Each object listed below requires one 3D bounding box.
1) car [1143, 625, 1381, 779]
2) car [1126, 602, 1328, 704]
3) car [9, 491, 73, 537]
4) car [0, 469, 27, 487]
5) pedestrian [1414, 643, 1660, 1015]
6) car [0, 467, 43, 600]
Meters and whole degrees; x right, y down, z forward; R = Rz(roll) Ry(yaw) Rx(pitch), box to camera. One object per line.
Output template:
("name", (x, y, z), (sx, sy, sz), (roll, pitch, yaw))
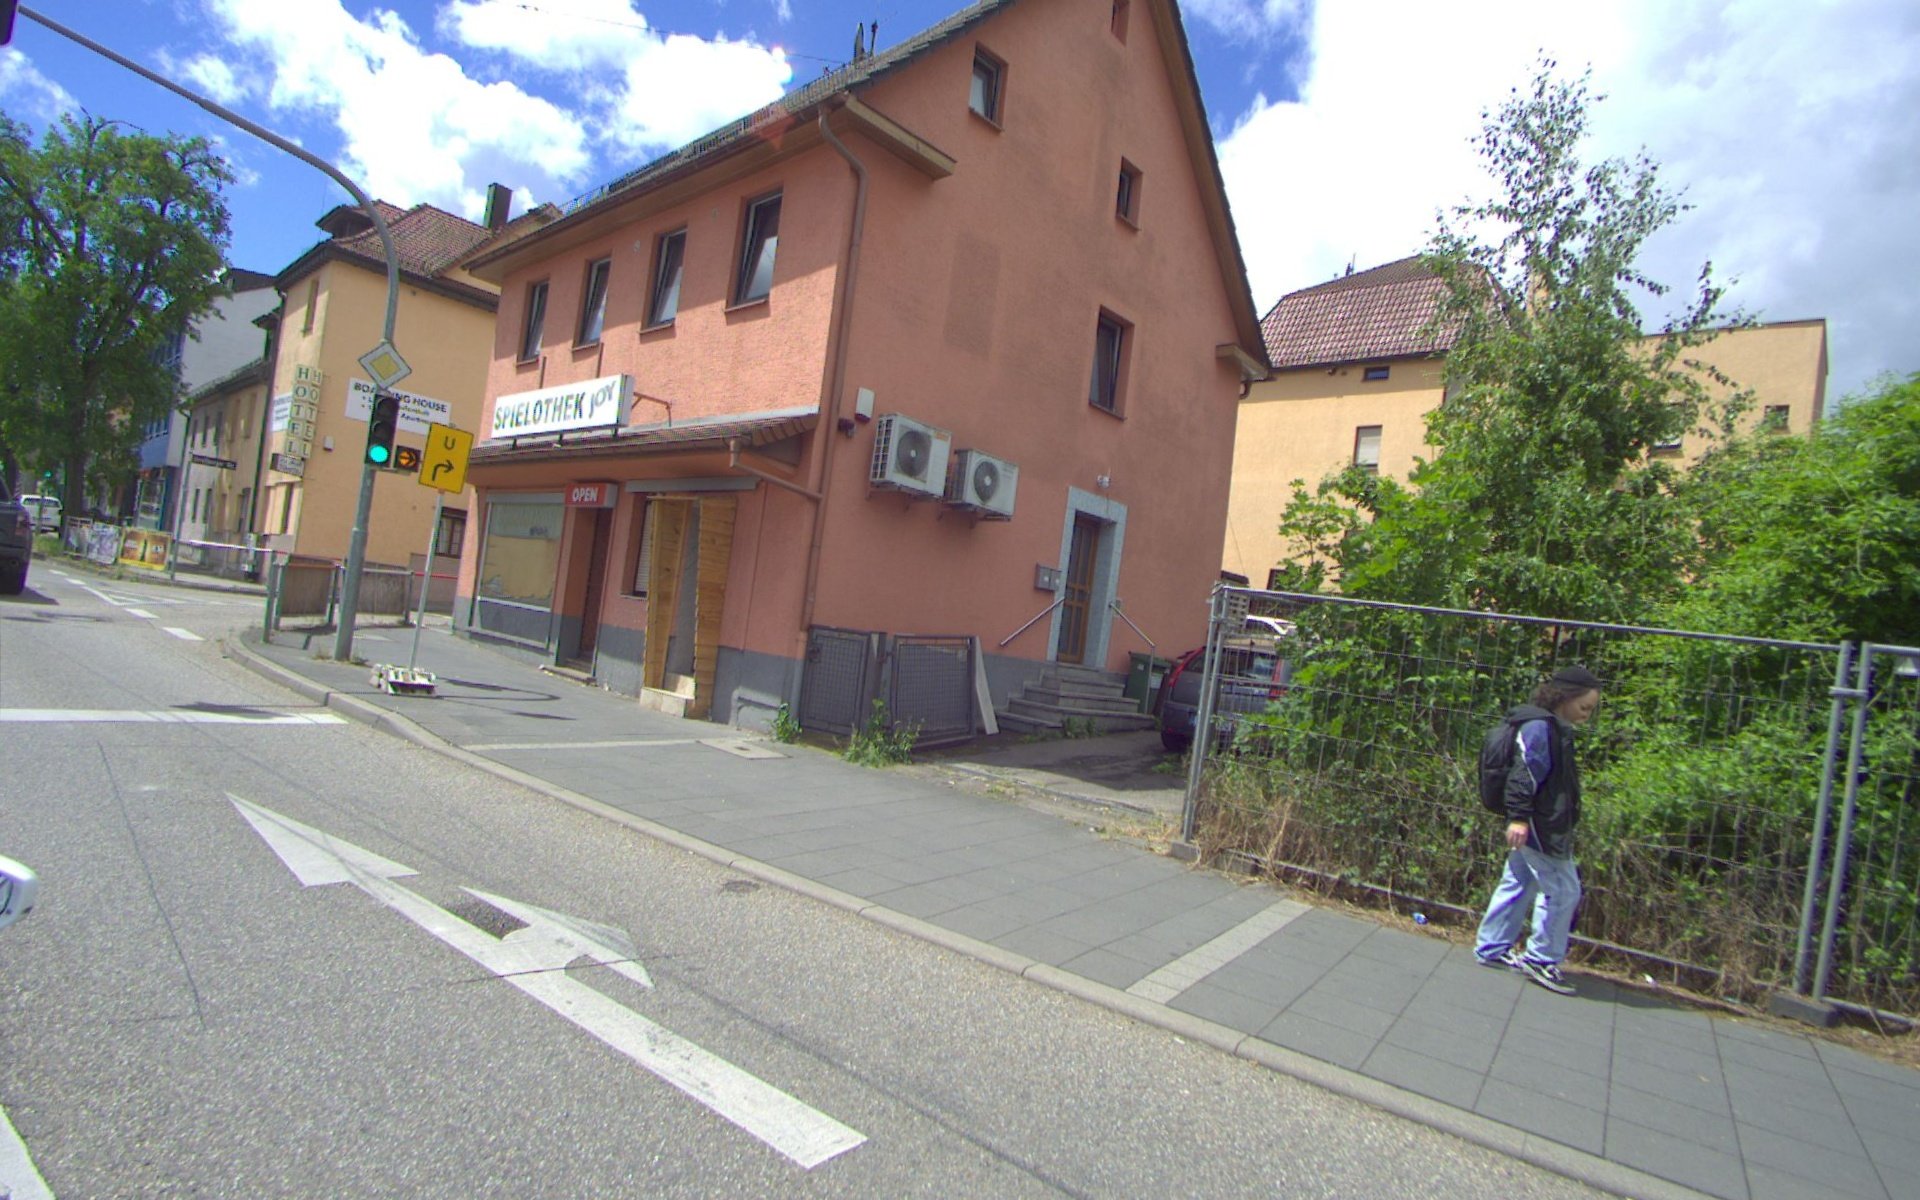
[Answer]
("car", (3.797, 1.194, 12.483), (1.627, 1.516, 2.796), (7, 2, 43))
("car", (6.214, 1.214, 23.649), (3.947, 1.804, 1.990), (7, -1, 44))
("car", (-39.524, -3.681, 43.236), (1.782, 1.615, 3.950), (7, -1, -45))
("car", (-102.486, -13.199, 108.941), (1.808, 1.486, 3.956), (8, -1, -40))
("pedestrian", (3.014, 1.125, 5.255), (0.767, 1.663, 0.762), (9, 1, 43))
("car", (-16.331, -1.217, 16.001), (5.080, 1.909, 1.996), (5, -1, 42))
